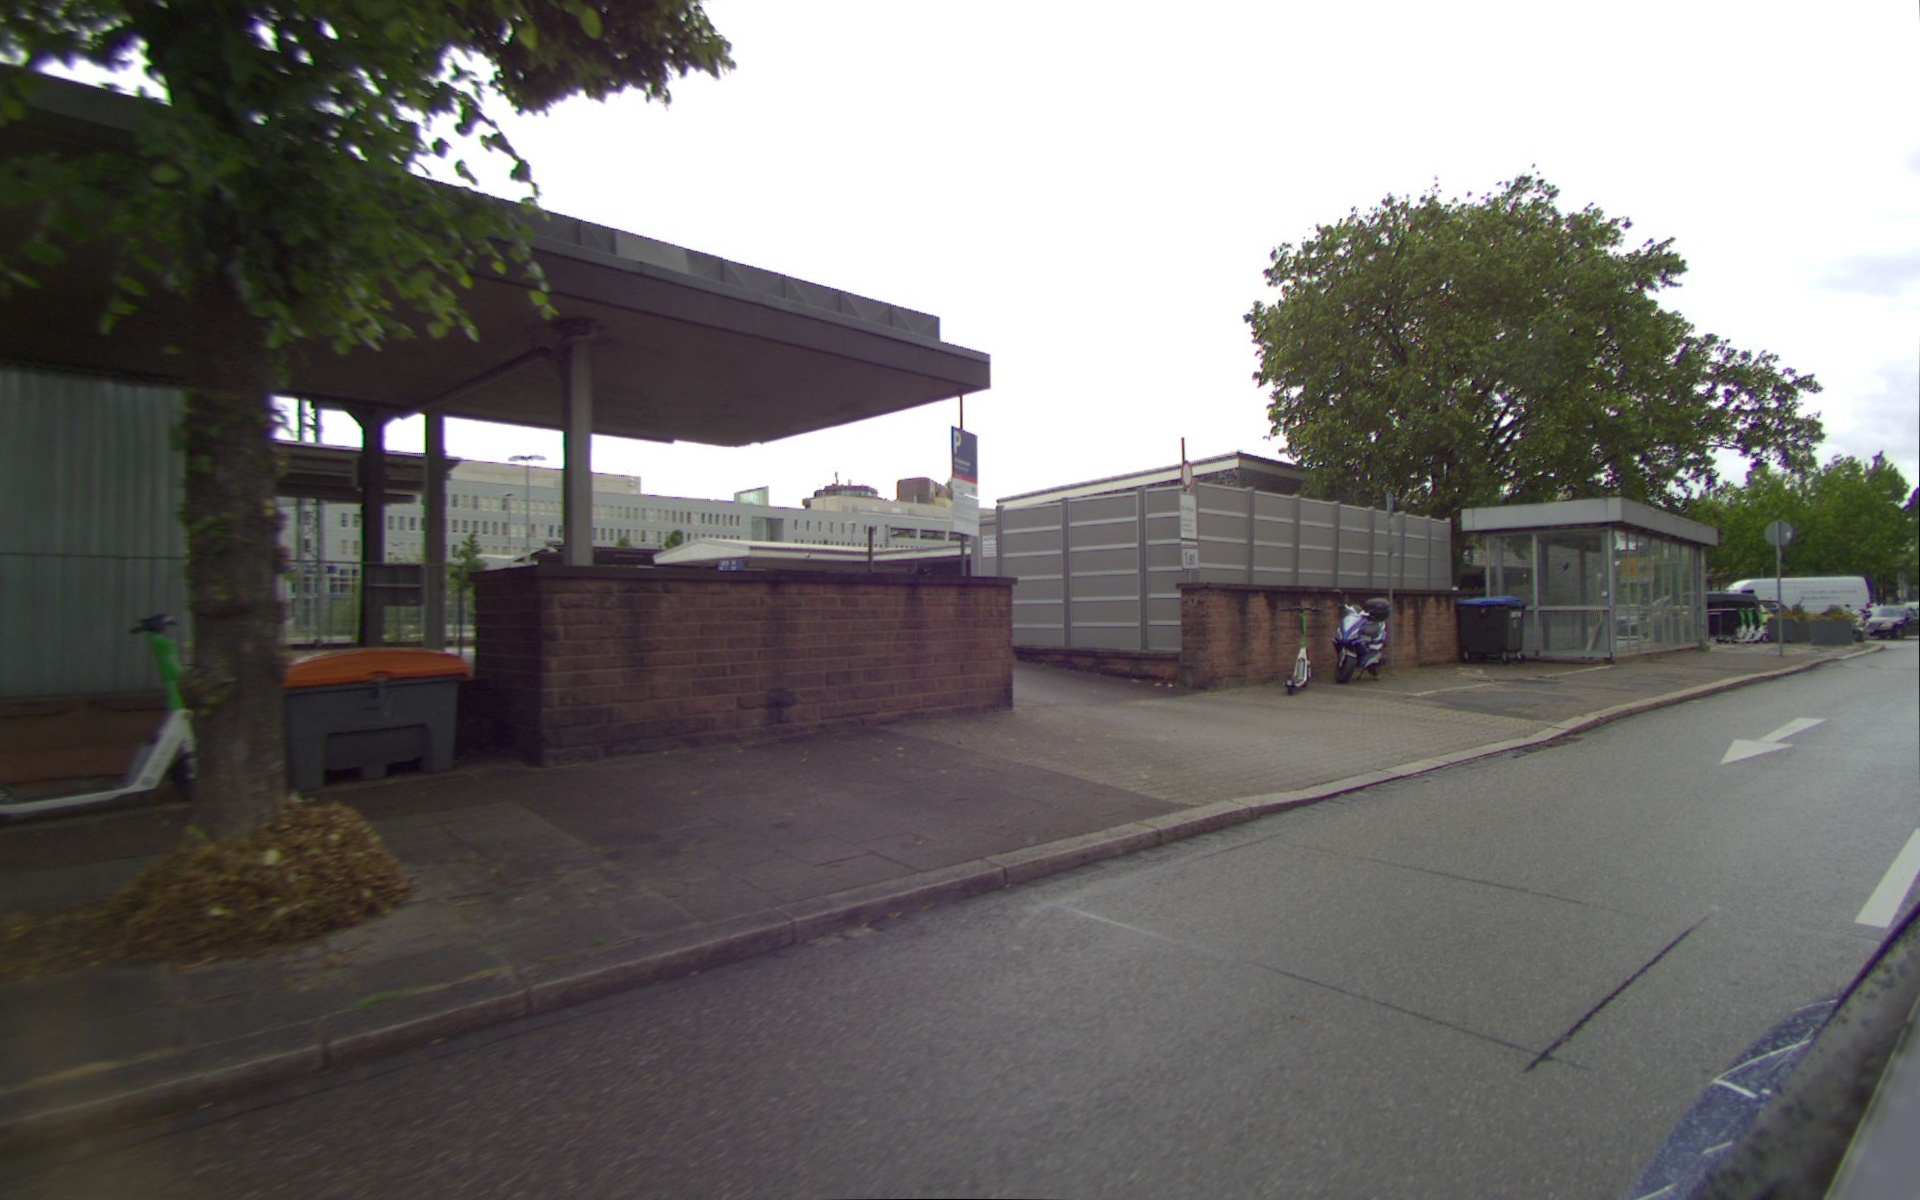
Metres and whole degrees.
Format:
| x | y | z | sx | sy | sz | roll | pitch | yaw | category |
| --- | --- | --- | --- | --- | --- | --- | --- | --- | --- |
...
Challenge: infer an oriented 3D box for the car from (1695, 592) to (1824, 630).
| x | y | z | sx | sy | sz | roll | pitch | yaw | category |
| --- | --- | --- | --- | --- | --- | --- | --- | --- | --- |
| 36.125 | 0.460 | 45.853 | 4.183 | 1.655 | 1.872 | 1 | 0 | 20 | car |

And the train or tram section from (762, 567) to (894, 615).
| x | y | z | sx | sy | sz | roll | pitch | yaw | category |
| --- | --- | --- | --- | --- | --- | --- | --- | --- | --- |
| -10.394 | -0.719 | 81.115 | 2.768 | 3.643 | 11.321 | 0 | 0 | 44 | train or tram section |

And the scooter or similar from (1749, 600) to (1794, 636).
| x | y | z | sx | sy | sz | roll | pitch | yaw | category |
| --- | --- | --- | --- | --- | --- | --- | --- | --- | --- |
| 27.077 | 0.610 | 33.769 | 1.237 | 1.170 | 0.415 | -1 | -2 | -10 | scooter or similar |

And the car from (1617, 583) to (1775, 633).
| x | y | z | sx | sy | sz | roll | pitch | yaw | category |
| --- | --- | --- | --- | --- | --- | --- | --- | --- | --- |
| 29.362 | 0.299 | 40.567 | 4.635 | 1.898 | 2.098 | 0 | 0 | 17 | car |

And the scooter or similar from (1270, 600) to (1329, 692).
| x | y | z | sx | sy | sz | roll | pitch | yaw | category |
| --- | --- | --- | --- | --- | --- | --- | --- | --- | --- |
| 4.677 | 0.594 | 13.889 | 0.490 | 1.167 | 1.699 | 0 | 1 | 28 | scooter or similar |

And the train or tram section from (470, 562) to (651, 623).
| x | y | z | sx | sy | sz | roll | pitch | yaw | category |
| --- | --- | --- | --- | --- | --- | --- | --- | --- | --- |
| -25.614 | -0.506 | 65.475 | 2.741 | 3.648 | 10.753 | 0 | 0 | 45 | train or tram section |

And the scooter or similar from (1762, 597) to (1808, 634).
| x | y | z | sx | sy | sz | roll | pitch | yaw | category |
| --- | --- | --- | --- | --- | --- | --- | --- | --- | --- |
| 27.170 | 0.515 | 33.335 | 1.237 | 1.170 | 0.415 | -1 | -2 | -10 | scooter or similar |

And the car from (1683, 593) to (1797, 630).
| x | y | z | sx | sy | sz | roll | pitch | yaw | category |
| --- | --- | --- | --- | --- | --- | --- | --- | --- | --- |
| 33.837 | 0.483 | 44.024 | 3.549 | 1.543 | 1.749 | 1 | 0 | 23 | car |

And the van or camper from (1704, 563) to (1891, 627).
| x | y | z | sx | sy | sz | roll | pitch | yaw | category |
| --- | --- | --- | --- | --- | --- | --- | --- | --- | --- |
| 39.964 | -0.270 | 48.526 | 6.445 | 2.906 | 2.266 | 1 | 0 | 19 | van or camper |

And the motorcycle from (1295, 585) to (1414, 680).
| x | y | z | sx | sy | sz | roll | pitch | yaw | category |
| --- | --- | --- | --- | --- | --- | --- | --- | --- | --- |
| 6.094 | 0.455 | 15.537 | 2.417 | 1.365 | 0.792 | 0 | 0 | -44 | motorcycle |

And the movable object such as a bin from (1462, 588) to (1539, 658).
| x | y | z | sx | sy | sz | roll | pitch | yaw | category |
| --- | --- | --- | --- | --- | --- | --- | --- | --- | --- |
| 10.890 | 0.445 | 20.396 | 1.295 | 1.355 | 1.035 | 0 | 0 | -44 | movable object such as a bin |

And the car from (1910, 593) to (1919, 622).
| x | y | z | sx | sy | sz | roll | pitch | yaw | category |
| --- | --- | --- | --- | --- | --- | --- | --- | --- | --- |
| 51.125 | 0.407 | 52.975 | 3.525 | 1.493 | 1.660 | 0 | 0 | -41 | car |

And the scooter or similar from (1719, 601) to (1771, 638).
| x | y | z | sx | sy | sz | roll | pitch | yaw | category |
| --- | --- | --- | --- | --- | --- | --- | --- | --- | --- |
| 26.272 | 0.628 | 33.856 | 1.638 | 1.170 | 1.066 | -1 | 0 | -41 | scooter or similar |

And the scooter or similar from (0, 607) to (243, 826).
| x | y | z | sx | sy | sz | roll | pitch | yaw | category |
| --- | --- | --- | --- | --- | --- | --- | --- | --- | --- |
| -5.156 | 0.640 | 5.919 | 1.520 | 1.167 | 0.493 | -1 | 0 | -45 | scooter or similar |

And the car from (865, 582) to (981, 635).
| x | y | z | sx | sy | sz | roll | pitch | yaw | category |
| --- | --- | --- | --- | --- | --- | --- | --- | --- | --- |
| -1.487 | 0.275 | 38.871 | 2.071 | 1.898 | 4.695 | 0 | 0 | -39 | car |

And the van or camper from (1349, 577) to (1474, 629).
| x | y | z | sx | sy | sz | roll | pitch | yaw | category |
| --- | --- | --- | --- | --- | --- | --- | --- | --- | --- |
| 18.516 | 0.079 | 41.629 | 1.988 | 2.015 | 4.282 | 0 | 1 | -44 | van or camper |

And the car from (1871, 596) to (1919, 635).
| x | y | z | sx | sy | sz | roll | pitch | yaw | category |
| --- | --- | --- | --- | --- | --- | --- | --- | --- | --- |
| 38.337 | 0.592 | 40.798 | 3.758 | 1.493 | 1.871 | 0 | 0 | -40 | car |

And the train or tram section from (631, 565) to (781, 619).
| x | y | z | sx | sy | sz | roll | pitch | yaw | category |
| --- | --- | --- | --- | --- | --- | --- | --- | --- | --- |
| -18.135 | -0.597 | 73.085 | 2.740 | 3.648 | 10.756 | 0 | 0 | 44 | train or tram section |

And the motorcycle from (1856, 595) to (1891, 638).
| x | y | z | sx | sy | sz | roll | pitch | yaw | category |
| --- | --- | --- | --- | --- | --- | --- | --- | --- | --- |
| 30.474 | 0.531 | 33.756 | 2.072 | 1.369 | 0.644 | 0 | 0 | -41 | motorcycle |
